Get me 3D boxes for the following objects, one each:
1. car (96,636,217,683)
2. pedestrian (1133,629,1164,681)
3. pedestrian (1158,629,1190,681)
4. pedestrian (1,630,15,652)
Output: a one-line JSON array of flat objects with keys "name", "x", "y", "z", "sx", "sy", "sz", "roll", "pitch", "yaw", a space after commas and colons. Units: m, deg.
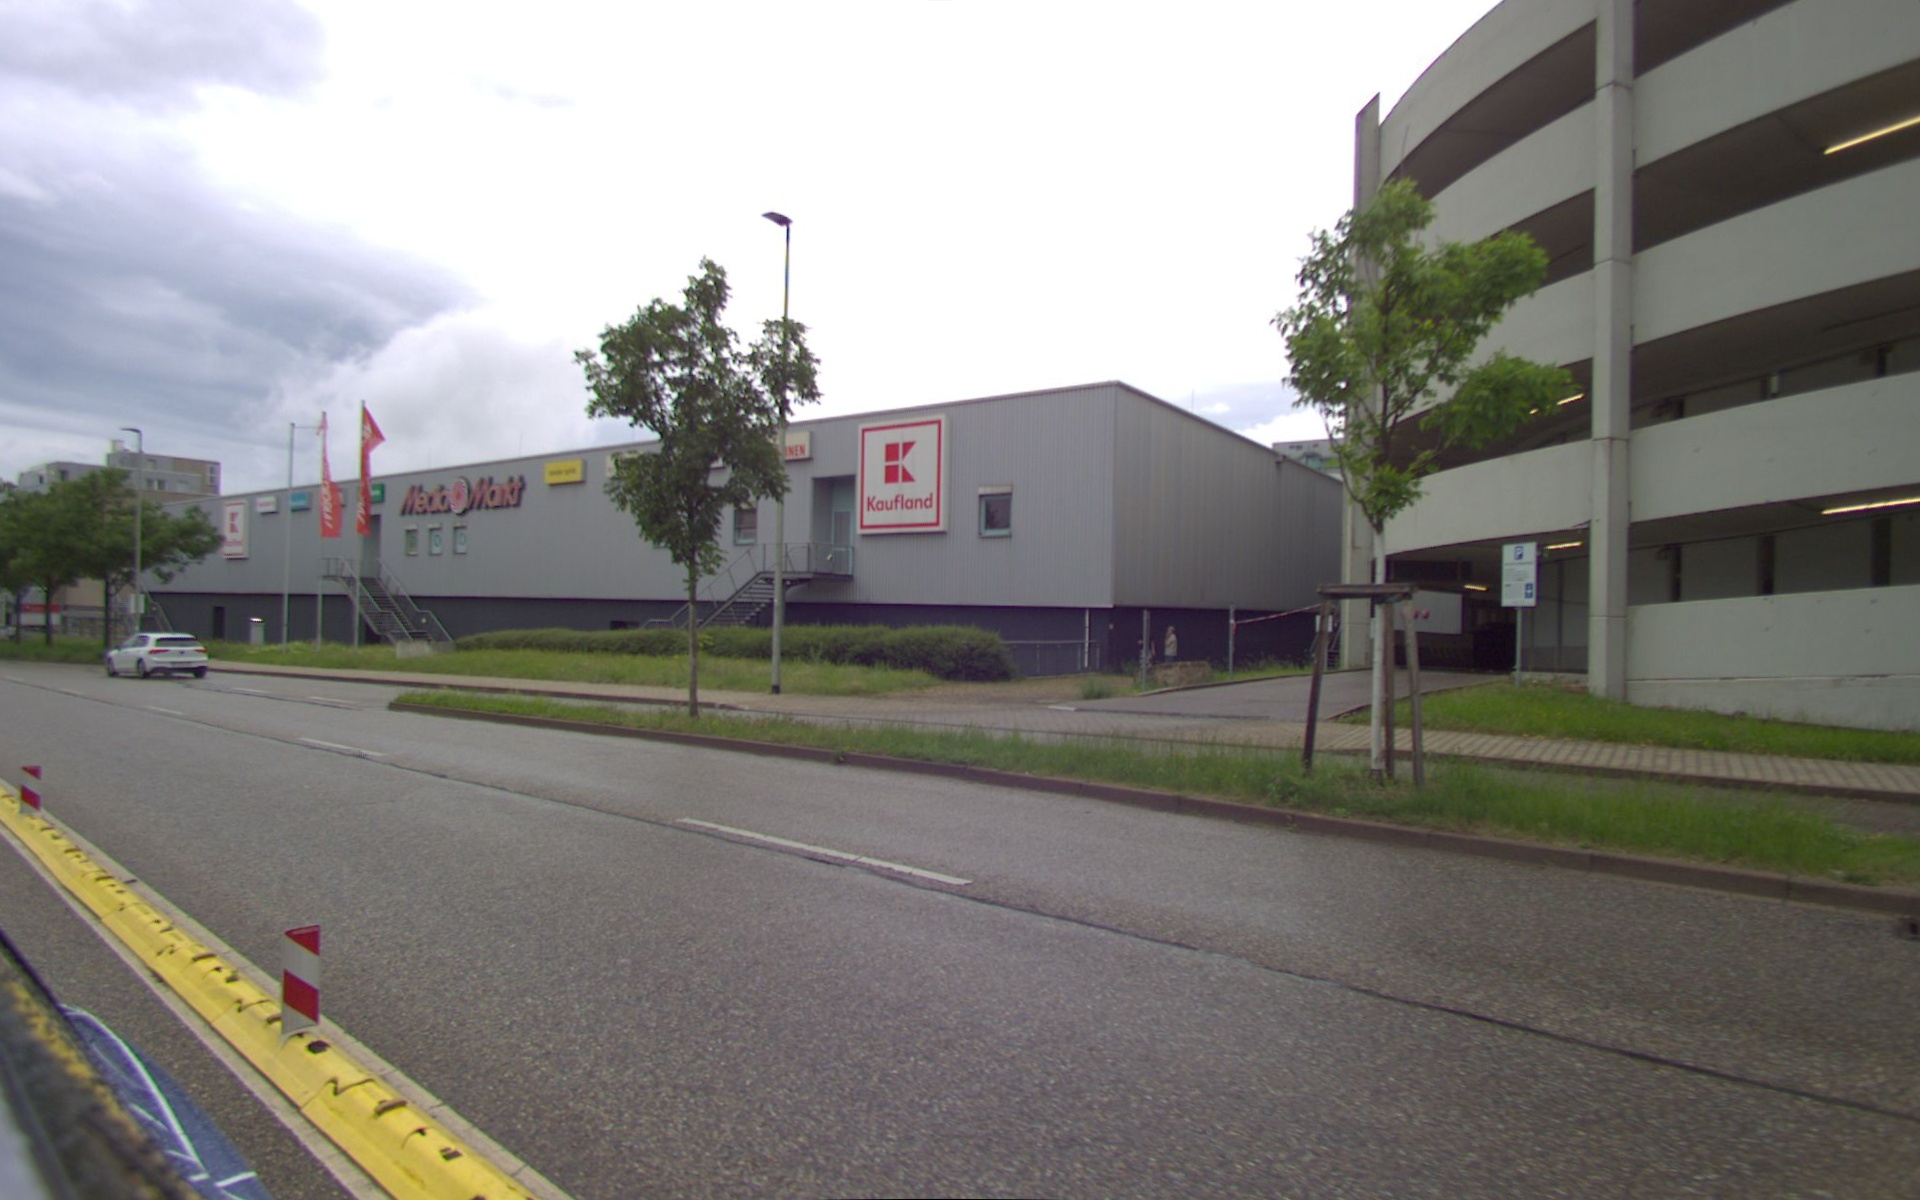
[{"name": "car", "x": -26.384, "y": 1.923, "z": 33.213, "sx": 4.413, "sy": 1.419, "sz": 1.883, "roll": -2, "pitch": -3, "yaw": 35}, {"name": "pedestrian", "x": 6.018, "y": 1.746, "z": 32.325, "sx": 0.859, "sy": 1.587, "sz": 0.445, "roll": -1, "pitch": 0, "yaw": 33}, {"name": "pedestrian", "x": 6.716, "y": 1.711, "z": 31.734, "sx": 0.859, "sy": 1.587, "sz": 0.445, "roll": -1, "pitch": 0, "yaw": 33}, {"name": "pedestrian", "x": -70.189, "y": 3.042, "z": 74.597, "sx": 0.765, "sy": 1.595, "sz": 0.579, "roll": -1, "pitch": 0, "yaw": 37}]
